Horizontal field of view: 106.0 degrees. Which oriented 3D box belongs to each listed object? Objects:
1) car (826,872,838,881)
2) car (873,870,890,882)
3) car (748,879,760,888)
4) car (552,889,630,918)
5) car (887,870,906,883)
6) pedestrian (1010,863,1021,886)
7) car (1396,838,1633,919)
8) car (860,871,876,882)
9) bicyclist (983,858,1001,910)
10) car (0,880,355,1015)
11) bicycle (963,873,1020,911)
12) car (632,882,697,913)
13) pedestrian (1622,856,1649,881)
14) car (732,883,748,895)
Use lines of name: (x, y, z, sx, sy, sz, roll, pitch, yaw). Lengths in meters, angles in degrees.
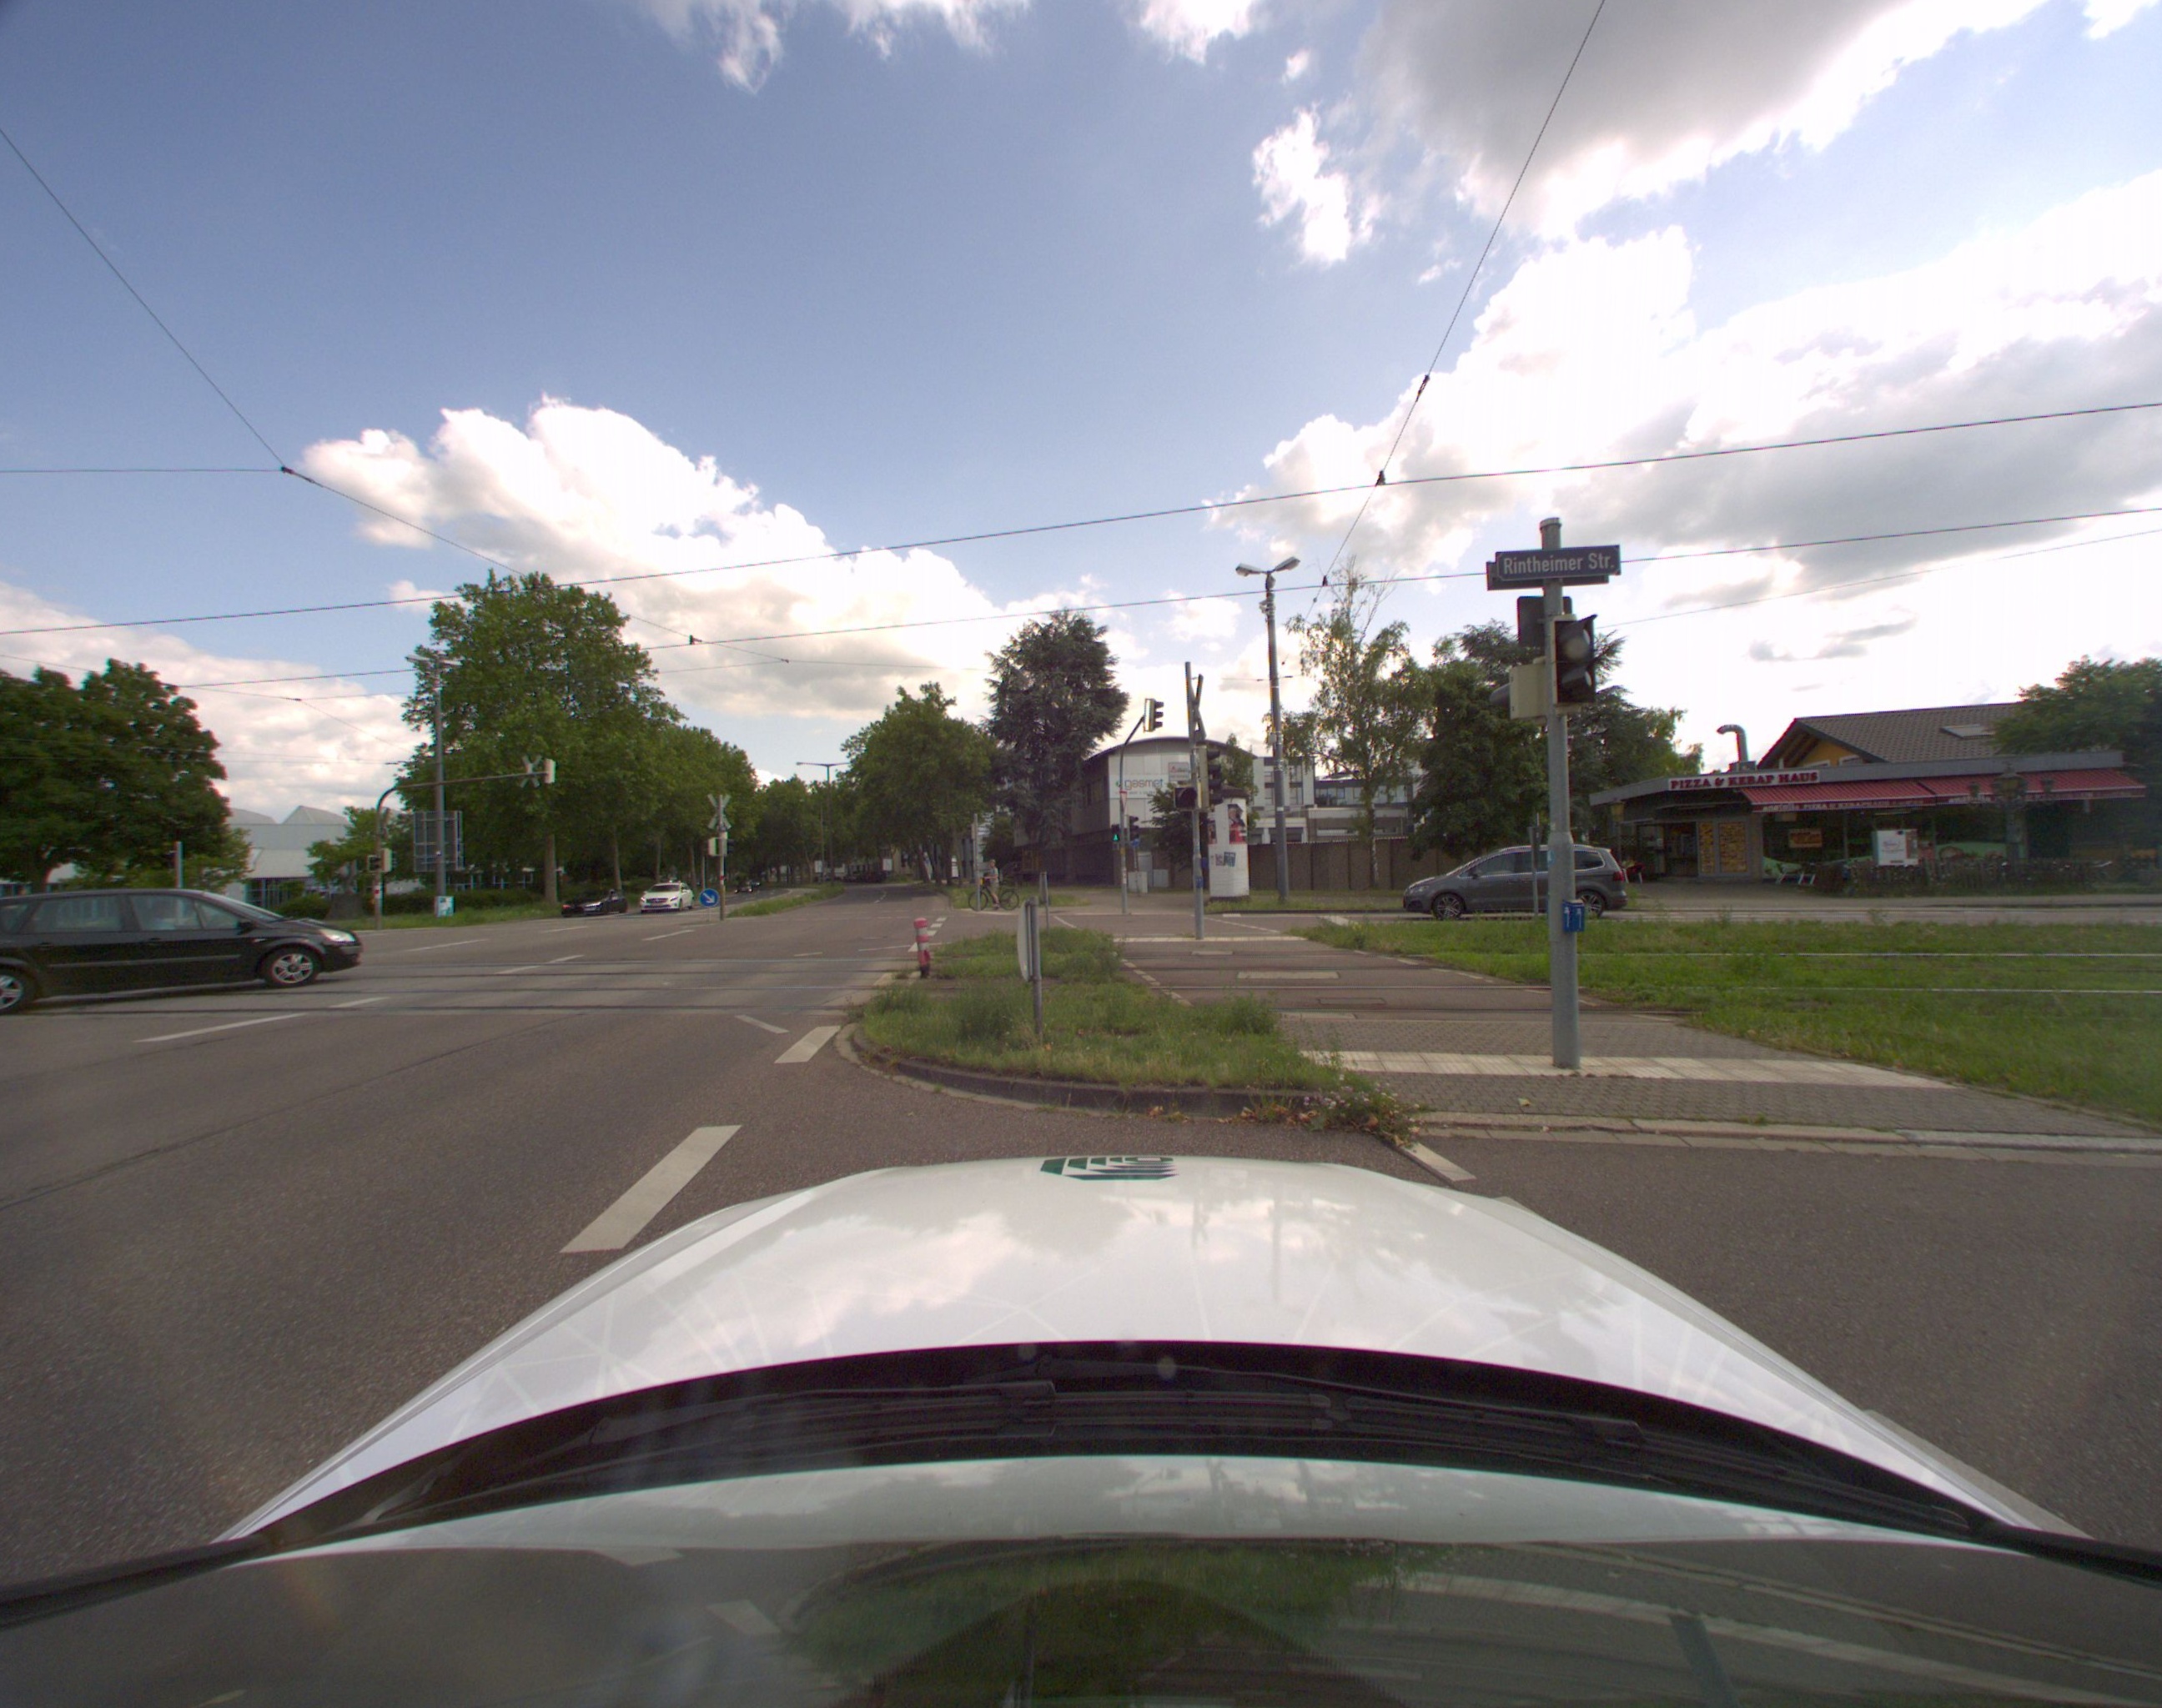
car: (-51.944, 4.723, 169.718, 2.001, 1.574, 3.972, -2, 1, -21)
car: (-30.949, 3.373, 126.354, 2.001, 1.574, 3.972, -2, 1, -21)
car: (-55.516, 5.008, 138.297, 1.664, 1.271, 3.742, -2, 1, -23)
car: (-23.737, 2.355, 39.582, 1.631, 1.192, 3.704, -2, -1, -3)
car: (-26.212, 3.162, 115.475, 2.001, 1.574, 3.972, -2, 1, -21)
pedestrian: (-4.574, 1.442, 56.832, 0.620, 1.569, 0.557, -2, 1, -10)
car: (10.122, 0.596, 19.472, 4.687, 1.722, 2.009, -2, -1, 18)
car: (-34.982, 3.727, 133.712, 2.001, 1.574, 3.972, -2, 1, -21)
bicyclist: (-3.155, 1.045, 28.843, 0.541, 1.809, 0.541, -2, 1, -1)
car: (-13.568, 1.278, 12.088, 4.076, 1.630, 1.714, -1, -1, -45)
bicycle: (-3.160, 1.340, 28.848, 1.940, 1.235, 0.541, -2, 1, -1)
car: (-20.789, 2.142, 40.838, 1.826, 1.364, 4.121, -2, -1, -11)
pedestrian: (21.421, 0.572, 31.453, 0.718, 0.929, 0.781, -1, 1, 23)
car: (-37.970, 3.875, 90.680, 1.642, 1.192, 3.679, -1, -1, -23)
